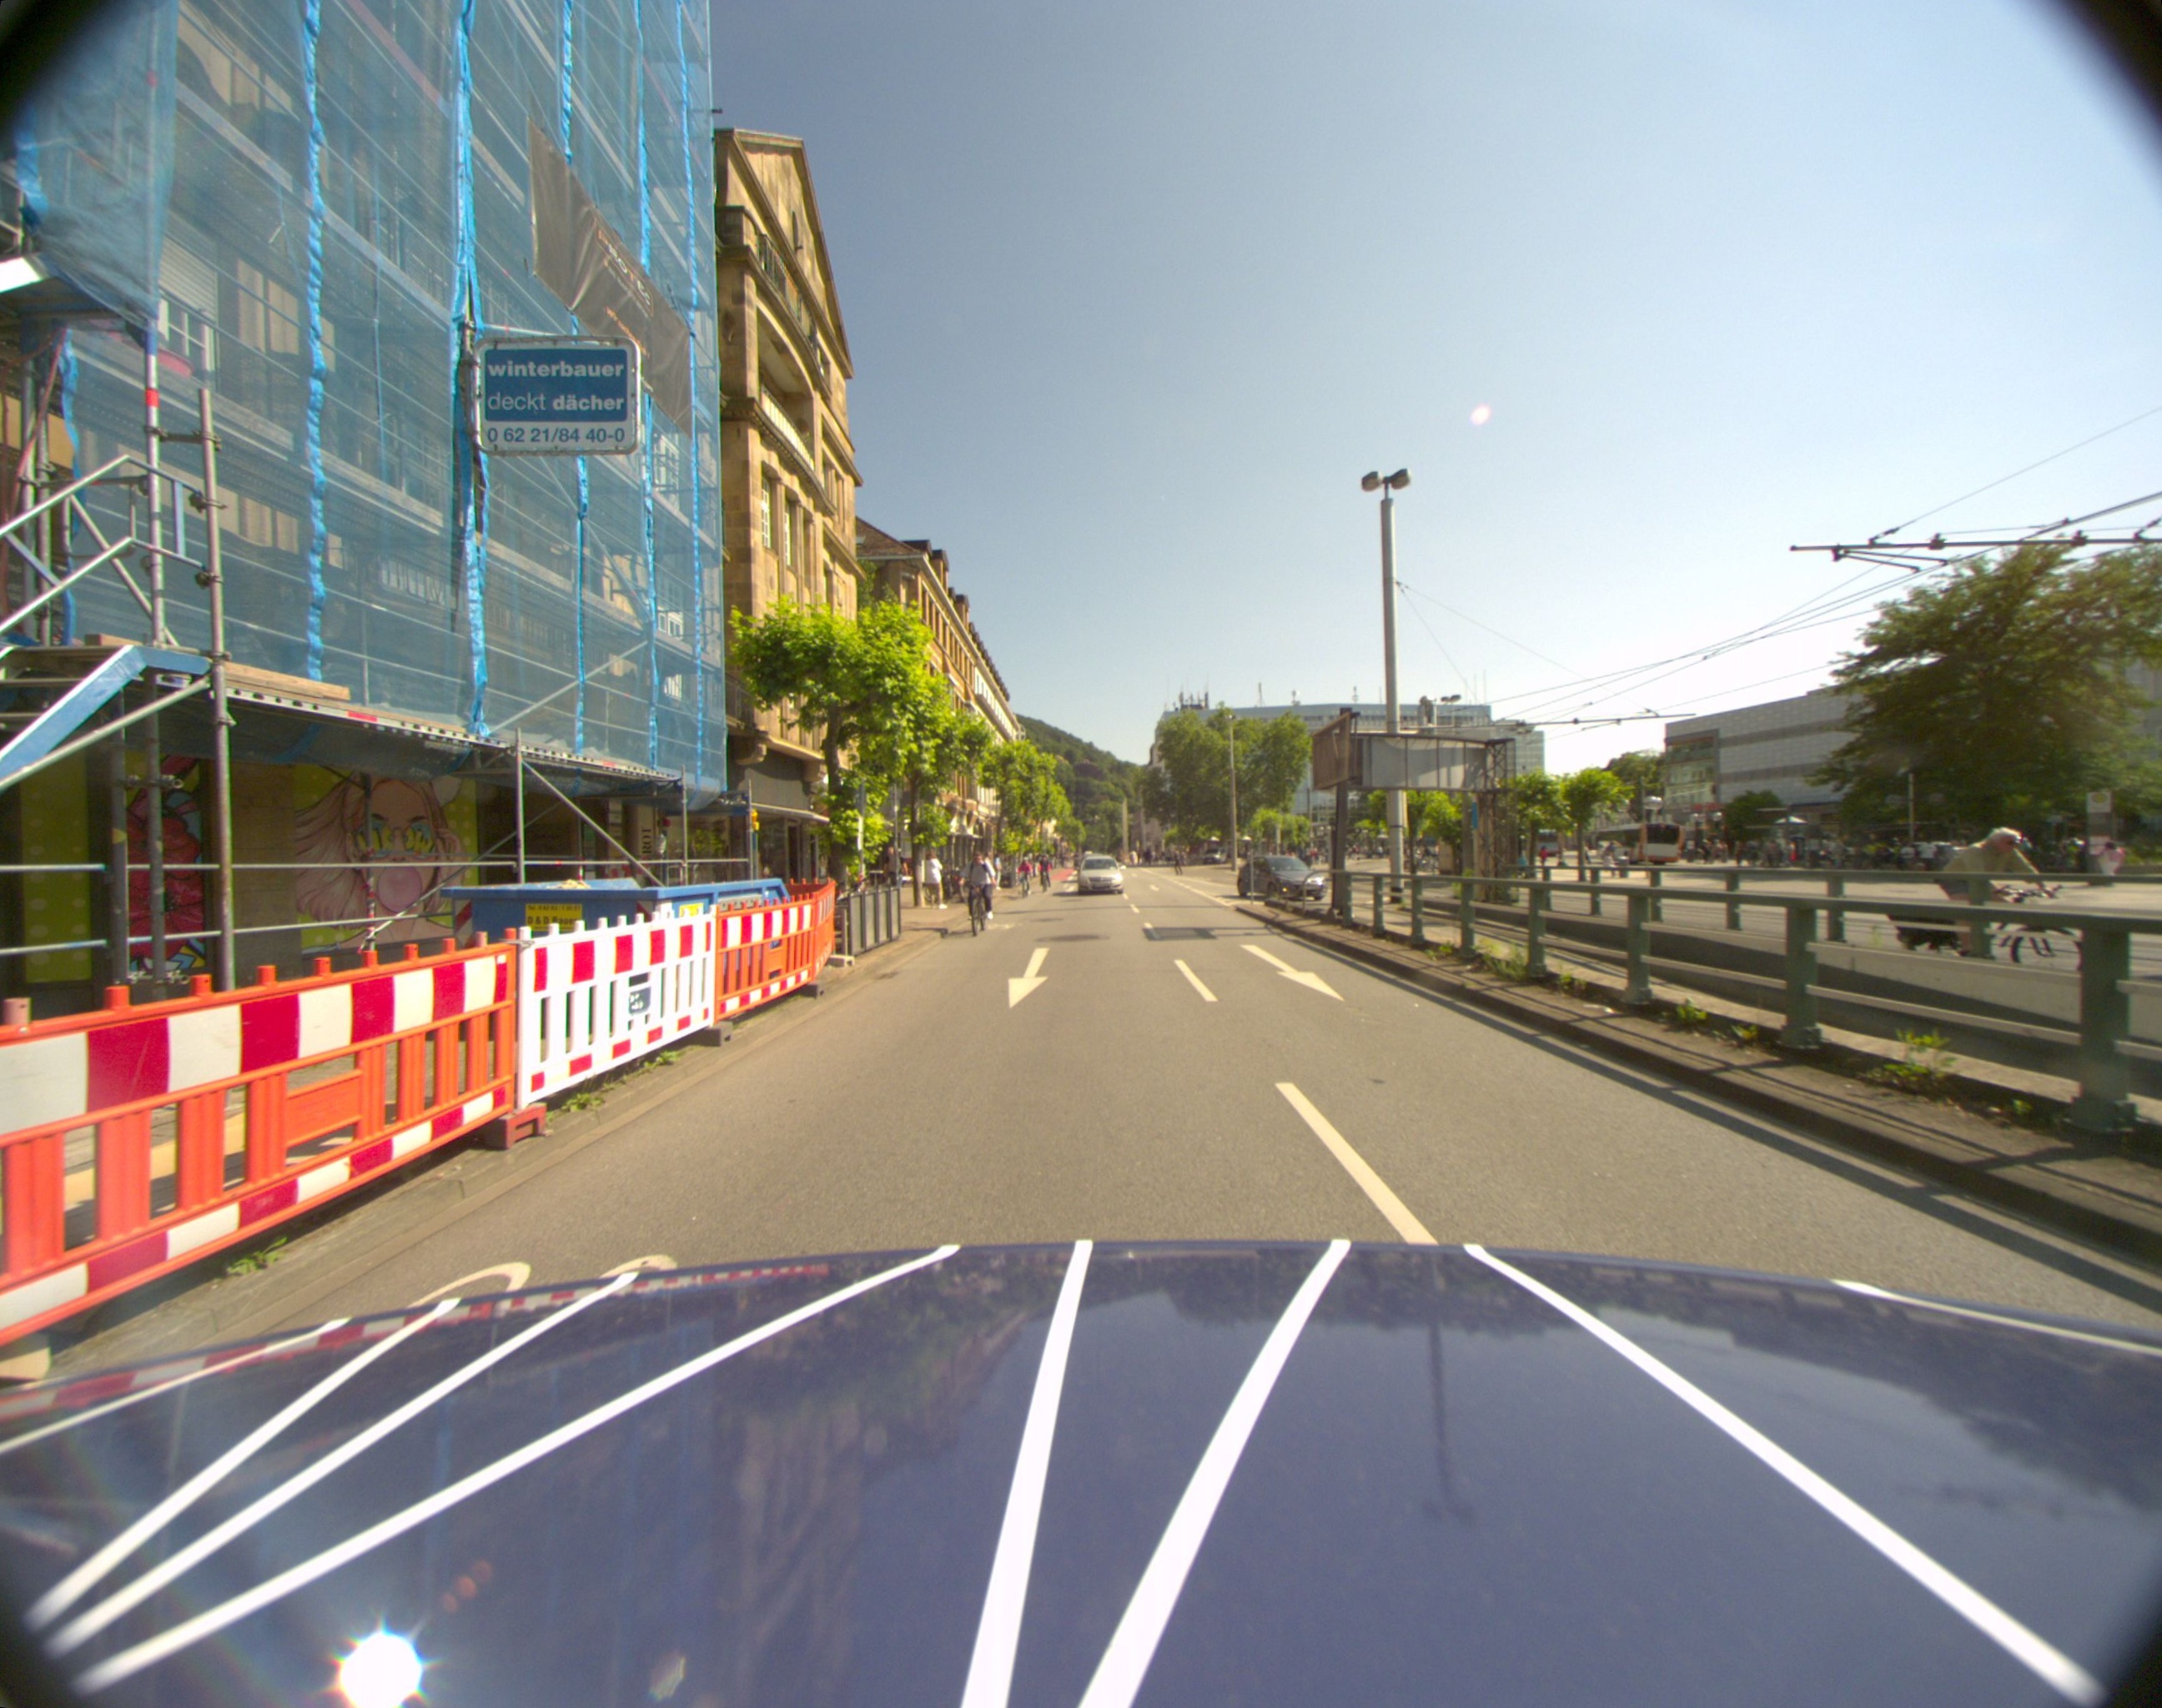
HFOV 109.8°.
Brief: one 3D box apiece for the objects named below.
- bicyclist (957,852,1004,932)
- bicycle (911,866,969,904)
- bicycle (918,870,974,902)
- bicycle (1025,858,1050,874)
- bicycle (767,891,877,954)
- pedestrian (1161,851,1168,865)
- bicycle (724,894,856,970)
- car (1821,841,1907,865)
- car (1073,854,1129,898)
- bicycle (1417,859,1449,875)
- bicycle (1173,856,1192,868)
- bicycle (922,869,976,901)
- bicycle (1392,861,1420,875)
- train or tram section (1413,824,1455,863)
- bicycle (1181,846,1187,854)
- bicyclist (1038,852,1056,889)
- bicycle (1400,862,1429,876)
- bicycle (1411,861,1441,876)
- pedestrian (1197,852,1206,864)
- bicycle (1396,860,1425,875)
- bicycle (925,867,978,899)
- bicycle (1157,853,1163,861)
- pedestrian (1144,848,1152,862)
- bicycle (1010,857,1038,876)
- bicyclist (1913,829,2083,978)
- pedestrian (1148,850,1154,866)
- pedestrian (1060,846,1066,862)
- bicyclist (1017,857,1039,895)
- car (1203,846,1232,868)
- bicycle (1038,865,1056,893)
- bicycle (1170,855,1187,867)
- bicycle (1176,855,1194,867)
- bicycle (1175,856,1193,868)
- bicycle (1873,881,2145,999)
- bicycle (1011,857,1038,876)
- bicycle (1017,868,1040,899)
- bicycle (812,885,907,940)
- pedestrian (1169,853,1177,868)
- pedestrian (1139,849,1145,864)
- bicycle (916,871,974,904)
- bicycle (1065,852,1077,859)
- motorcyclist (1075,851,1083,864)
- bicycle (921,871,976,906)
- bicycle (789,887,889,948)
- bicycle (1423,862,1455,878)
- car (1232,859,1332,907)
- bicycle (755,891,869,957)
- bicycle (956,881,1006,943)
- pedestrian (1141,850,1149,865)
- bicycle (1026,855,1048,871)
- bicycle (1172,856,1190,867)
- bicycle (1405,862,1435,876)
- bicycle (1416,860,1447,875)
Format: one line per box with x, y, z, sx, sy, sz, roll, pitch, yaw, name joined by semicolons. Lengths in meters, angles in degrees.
-2.079;0.771;15.829;0.750;1.568;0.778;-4;1;0;bicyclist
-4.546;1.004;24.619;1.757;1.174;0.579;1;1;-1;bicycle
-4.594;1.088;25.886;1.757;1.012;0.587;-2;1;-1;bicycle
-3.272;0.880;57.096;1.757;1.140;0.527;-3;1;-1;bicycle
-4.655;1.219;13.705;1.757;1.012;0.483;-3;1;-1;bicycle
10.281;0.484;93.552;0.751;1.737;0.666;-4;1;0;pedestrian
-4.399;1.171;11.541;1.757;1.012;0.483;-3;1;-1;bicycle
55.730;-0.092;54.173;1.760;1.499;3.998;-4;1;-5;car
0.778;0.782;29.157;1.918;1.401;4.000;-4;1;2;car
23.046;0.838;49.747;1.871;0.865;0.581;-4;1;-12;bicycle
10.442;0.789;78.022;1.865;1.140;0.483;-3;1;-1;bicycle
-4.607;1.064;26.533;1.757;1.012;0.483;-3;1;-1;bicycle
23.497;1.003;54.968;1.871;0.851;0.546;-4;1;-12;bicycle
40.256;-1.271;86.406;2.615;3.805;9.534;-3;1;35;train or tram section
16.885;-0.666;124.843;0.592;1.140;1.757;-3;1;-7;bicycle
-1.473;0.708;32.950;0.690;1.568;0.778;-4;1;-2;bicyclist
23.461;1.036;53.422;1.871;0.851;0.546;-4;1;-12;bicycle
23.601;1.007;52.028;1.871;0.851;0.546;-4;1;-12;bicycle
14.095;0.434;89.051;0.752;1.399;0.782;-4;1;-9;pedestrian
23.553;0.961;54.313;1.871;0.867;0.583;-4;1;-12;bicycle
-4.603;1.030;27.128;1.757;1.012;0.483;-3;1;-1;bicycle
12.641;0.457;121.397;0.729;1.137;1.914;-4;1;15;bicycle
7.774;0.106;88.188;0.630;1.639;0.753;-3;2;27;pedestrian
-3.753;0.810;49.946;1.757;1.140;0.483;-3;1;-1;bicycle
10.481;0.537;8.730;0.819;1.612;0.902;1;0;1;bicyclist
8.233;0.409;88.914;0.517;1.825;0.716;-4;1;9;pedestrian
-2.104;-0.016;88.088;0.578;1.835;0.717;-4;1;-2;pedestrian
-2.060;0.837;29.468;0.690;1.388;0.778;-4;1;-1;bicyclist
14.844;0.300;82.583;1.996;2.002;5.073;-4;1;22;car
-1.446;1.056;32.944;0.667;1.086;1.897;-4;1;-2;bicycle
10.464;0.732;81.758;1.757;1.140;0.483;-3;1;-1;bicycle
10.476;0.728;76.692;1.757;1.140;0.483;-3;1;-1;bicycle
10.467;0.800;77.198;1.757;1.140;0.483;-3;1;-1;bicycle
10.482;0.914;8.726;0.819;1.114;1.874;0;1;1;bicycle
-3.746;0.835;50.604;1.757;1.140;0.499;-3;1;-1;bicycle
-2.014;1.120;29.430;0.736;1.086;1.819;-4;0;0;bicycle
-4.516;1.194;15.561;1.757;1.012;0.483;-3;1;-1;bicycle
10.288;0.704;84.835;0.643;1.682;0.642;-4;1;-12;pedestrian
7.544;0.317;93.516;0.612;1.737;0.752;-3;1;0;pedestrian
-4.506;1.105;25.234;1.757;1.012;0.557;-3;1;-1;bicycle
-1.637;0.280;124.488;1.757;1.140;0.592;-3;1;-1;bicycle
-0.254;0.432;86.881;0.736;1.446;0.707;-4;1;1;motorcyclist
-4.088;1.055;23.352;1.753;1.012;0.659;-2;2;40;bicycle
-4.664;1.206;14.666;1.760;1.012;0.482;-3;1;-20;bicycle
23.171;1.013;49.170;1.871;0.865;0.581;-4;1;-12;bicycle
6.664;0.927;25.675;1.701;1.397;3.996;1;0;-11;car
-4.650;1.209;13.191;1.757;1.012;0.483;-3;1;-1;bicycle
-2.064;1.166;15.892;0.736;1.086;1.897;-4;1;0;bicycle
7.593;0.415;89.986;0.537;1.773;0.744;-3;2;36;pedestrian
-3.539;0.726;61.388;1.757;1.140;0.483;-3;1;-1;bicycle
10.446;0.773;79.128;1.757;1.140;0.483;-3;1;-1;bicycle
23.572;1.053;52.830;1.871;0.851;0.546;-4;1;-12;bicycle
23.726;0.939;51.415;1.871;0.865;0.581;-4;1;-12;bicycle
